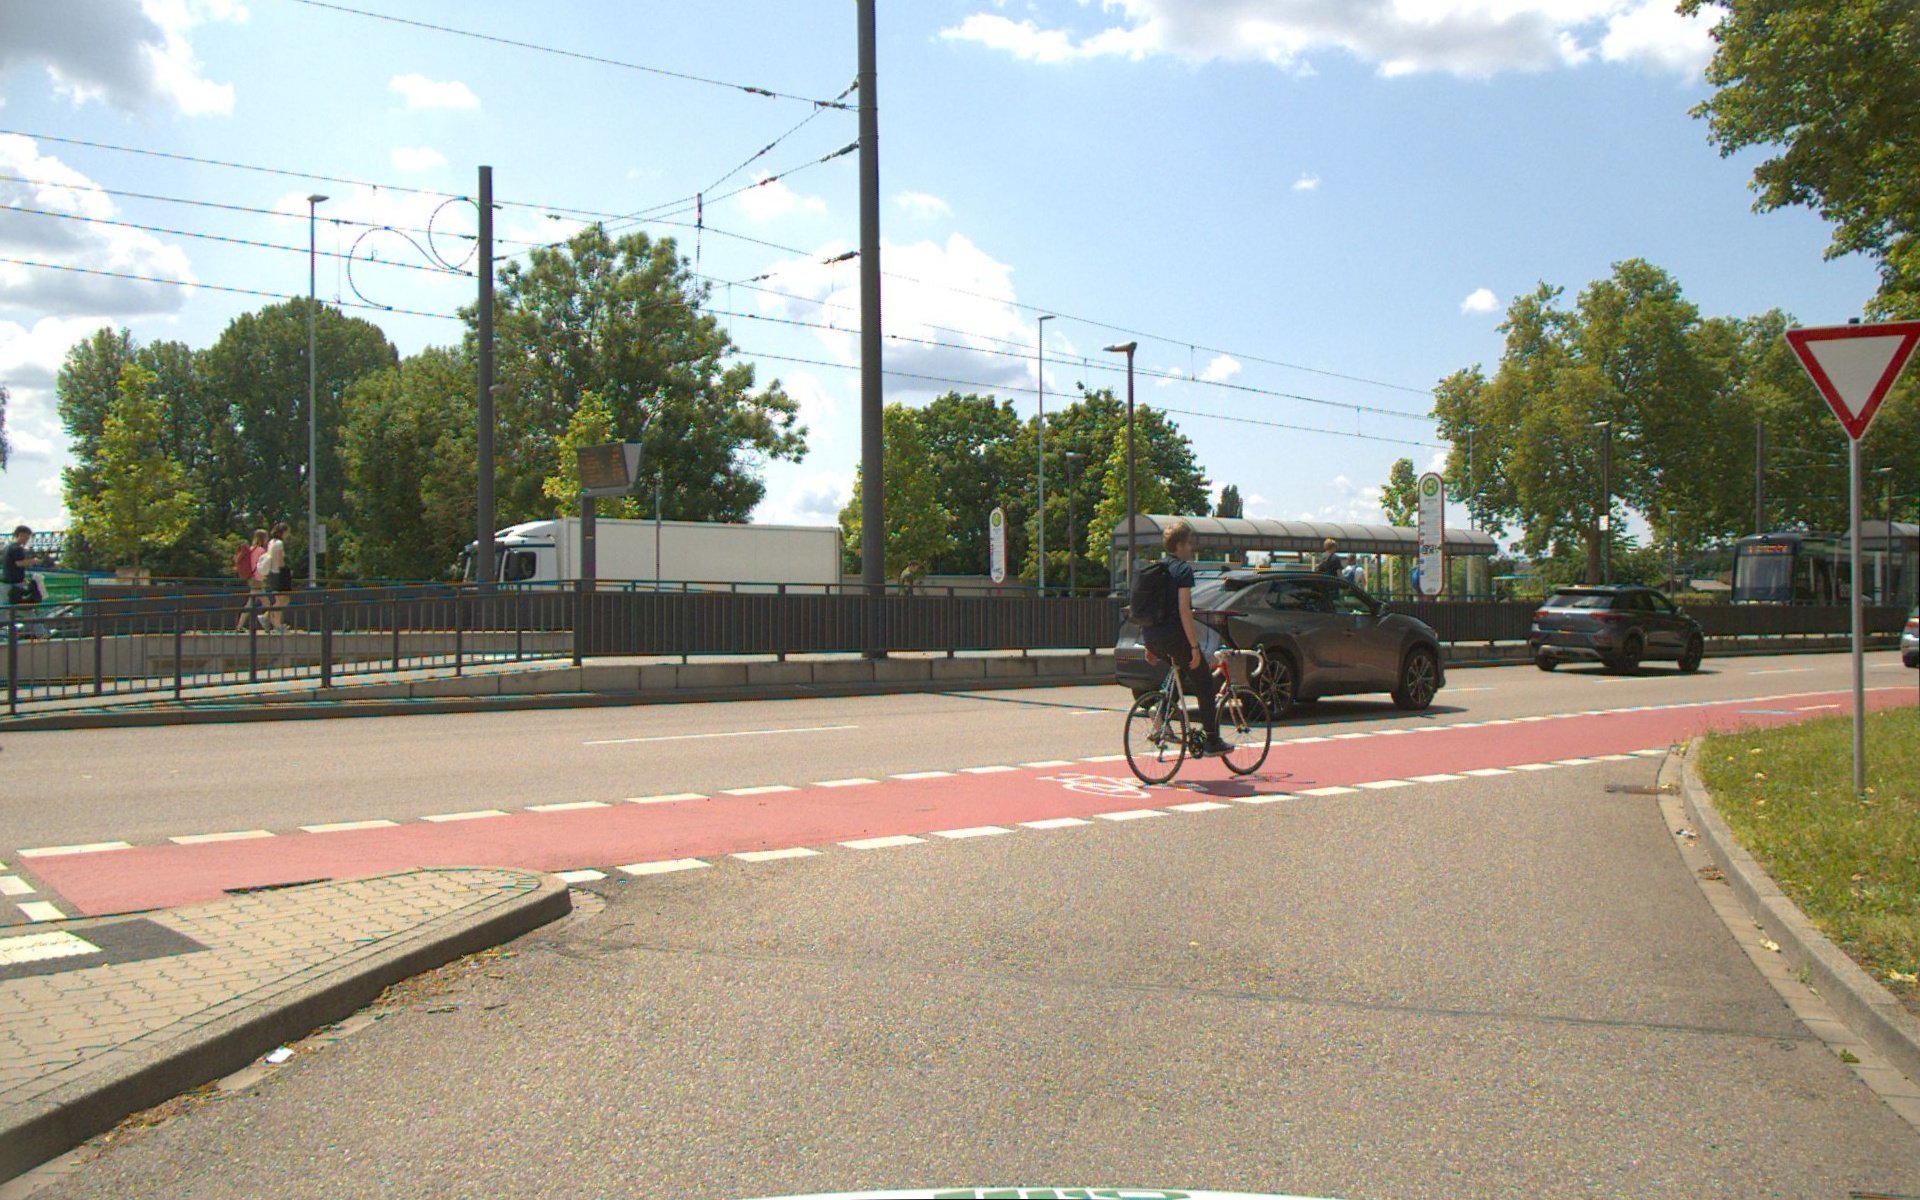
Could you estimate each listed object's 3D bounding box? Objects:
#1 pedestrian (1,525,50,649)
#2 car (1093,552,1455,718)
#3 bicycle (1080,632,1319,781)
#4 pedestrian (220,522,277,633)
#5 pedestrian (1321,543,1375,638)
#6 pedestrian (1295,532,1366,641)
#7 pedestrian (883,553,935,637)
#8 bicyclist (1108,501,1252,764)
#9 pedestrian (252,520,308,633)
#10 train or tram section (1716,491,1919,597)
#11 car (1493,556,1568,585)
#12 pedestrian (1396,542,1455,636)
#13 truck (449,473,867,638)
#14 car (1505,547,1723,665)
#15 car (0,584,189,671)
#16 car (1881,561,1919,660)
[{"bbox_3d":[-13.468,-0.189,23.838,0.519,1.751,0.721,-1,1,-36],"label":"pedestrian"},{"bbox_3d":[3.731,0.331,19.142,4.483,1.704,1.874,-1,1,-43],"label":"car"},{"bbox_3d":[1.844,0.770,12.508,2.005,1.016,0.613,1,1,-41],"label":"bicycle"},{"bbox_3d":[-11.493,-0.370,26.718,0.701,1.751,0.593,-1,1,-38],"label":"pedestrian"},{"bbox_3d":[7.854,-0.195,33.496,0.857,1.904,0.675,-1,1,-10],"label":"pedestrian"},{"bbox_3d":[6.833,-0.263,30.510,0.986,1.973,0.863,-1,1,-42],"label":"pedestrian"},{"bbox_3d":[-1.135,-0.119,36.740,0.921,1.839,0.725,0,1,-41],"label":"pedestrian"},{"bbox_3d":[1.643,0.228,12.331,0.916,1.878,0.602,0,1,-41],"label":"bicyclist"},{"bbox_3d":[-10.821,-0.378,26.326,0.671,1.778,0.628,0,2,-38],"label":"pedestrian"},{"bbox_3d":[30.318,-1.746,56.911,13.991,3.242,2.998,0,0,-44],"label":"train or tram section"},{"bbox_3d":[34.462,-1.801,99.936,1.892,1.691,3.872,-1,2,-40],"label":"car"},{"bbox_3d":[9.037,-0.215,32.130,0.921,1.786,0.725,0,1,-41],"label":"pedestrian"},{"bbox_3d":[-8.227,-1.178,46.972,11.886,4.176,2.909,0,1,-41],"label":"truck"},{"bbox_3d":[12.080,0.112,30.439,4.324,2.024,1.970,1,0,-41],"label":"car"},{"bbox_3d":[-19.554,0.569,36.689,4.125,1.805,1.856,-1,1,-42],"label":"car"},{"bbox_3d":[21.411,0.181,35.080,4.324,2.024,1.970,-1,1,-41],"label":"car"}]
